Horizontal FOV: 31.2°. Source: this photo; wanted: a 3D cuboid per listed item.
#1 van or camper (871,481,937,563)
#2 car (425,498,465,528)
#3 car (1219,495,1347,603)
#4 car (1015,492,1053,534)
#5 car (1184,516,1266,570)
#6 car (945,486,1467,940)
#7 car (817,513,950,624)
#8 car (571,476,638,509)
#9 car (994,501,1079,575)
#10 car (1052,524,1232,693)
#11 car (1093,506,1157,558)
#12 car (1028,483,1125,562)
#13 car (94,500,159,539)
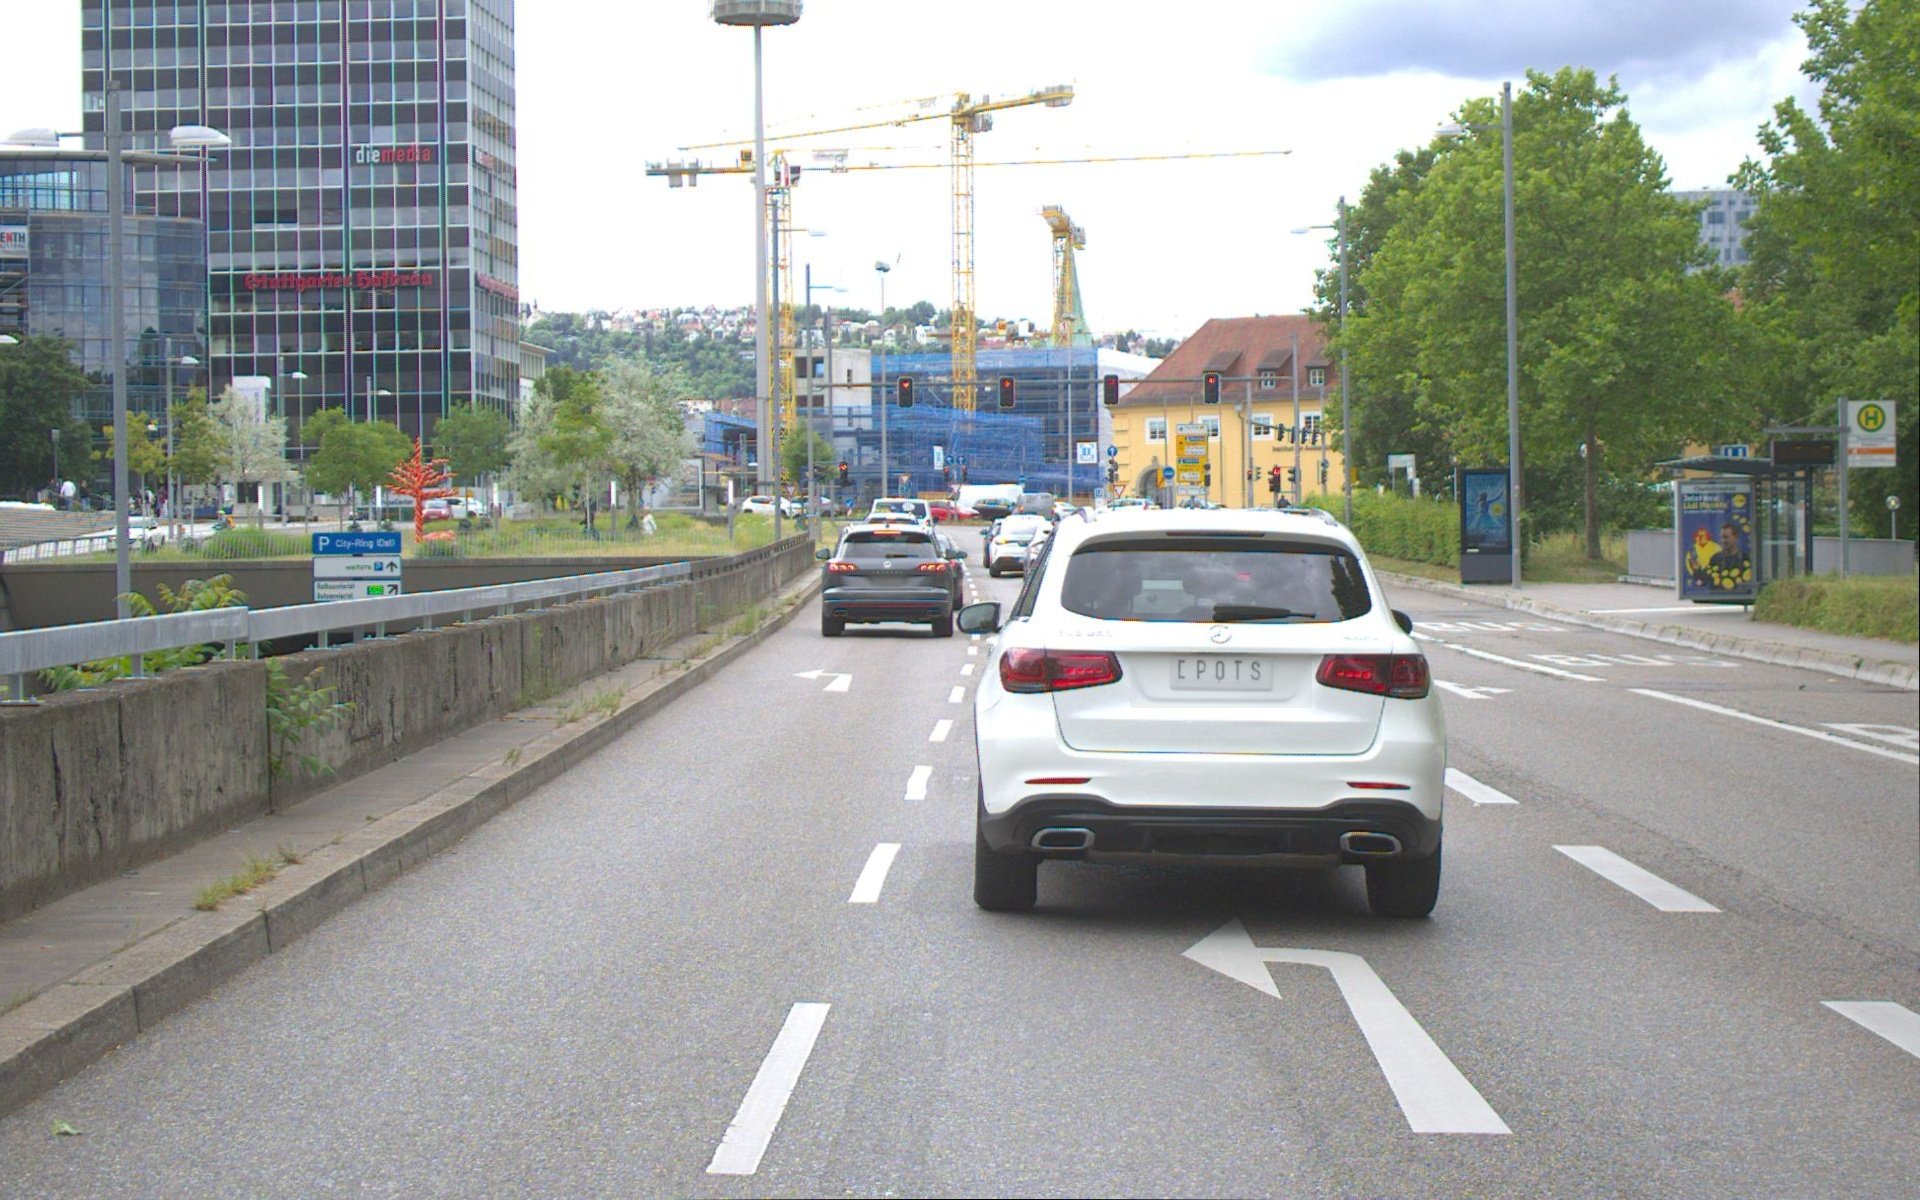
[{"bbox_3d":[-1.670,-2.333,103.459,1.922,2.312,4.000,1,-1,-1],"label":"van or camper"},{"bbox_3d":[-30.840,-5.202,206.099,1.867,1.612,3.481,2,0,-1],"label":"car"},{"bbox_3d":[5.998,-0.927,64.241,1.977,1.887,4.707,2,0,1],"label":"car"},{"bbox_3d":[3.782,-4.459,176.271,1.800,2.007,4.000,2,0,-1],"label":"car"},{"bbox_3d":[8.529,-1.827,111.063,1.993,1.612,4.001,2,0,-5],"label":"car"},{"bbox_3d":[0.961,0.418,14.910,1.940,1.678,4.000,1,0,1],"label":"car"},{"bbox_3d":[-1.133,-0.502,52.094,1.922,1.596,4.000,1,1,-1],"label":"car"},{"bbox_3d":[-23.198,-7.009,224.587,3.985,2.007,2.001,2,0,-17],"label":"car"},{"bbox_3d":[1.930,-1.564,88.002,1.993,1.774,4.000,2,0,-1],"label":"car"},{"bbox_3d":[1.859,0.068,36.110,1.672,1.622,4.000,2,0,1],"label":"car"},{"bbox_3d":[5.310,-2.182,111.114,1.719,1.579,4.000,2,1,-2],"label":"car"},{"bbox_3d":[2.645,-1.749,78.765,1.993,1.656,4.000,2,0,-1],"label":"car"},{"bbox_3d":[-33.833,-3.266,139.629,1.809,1.422,3.708,2,0,-2],"label":"car"}]
